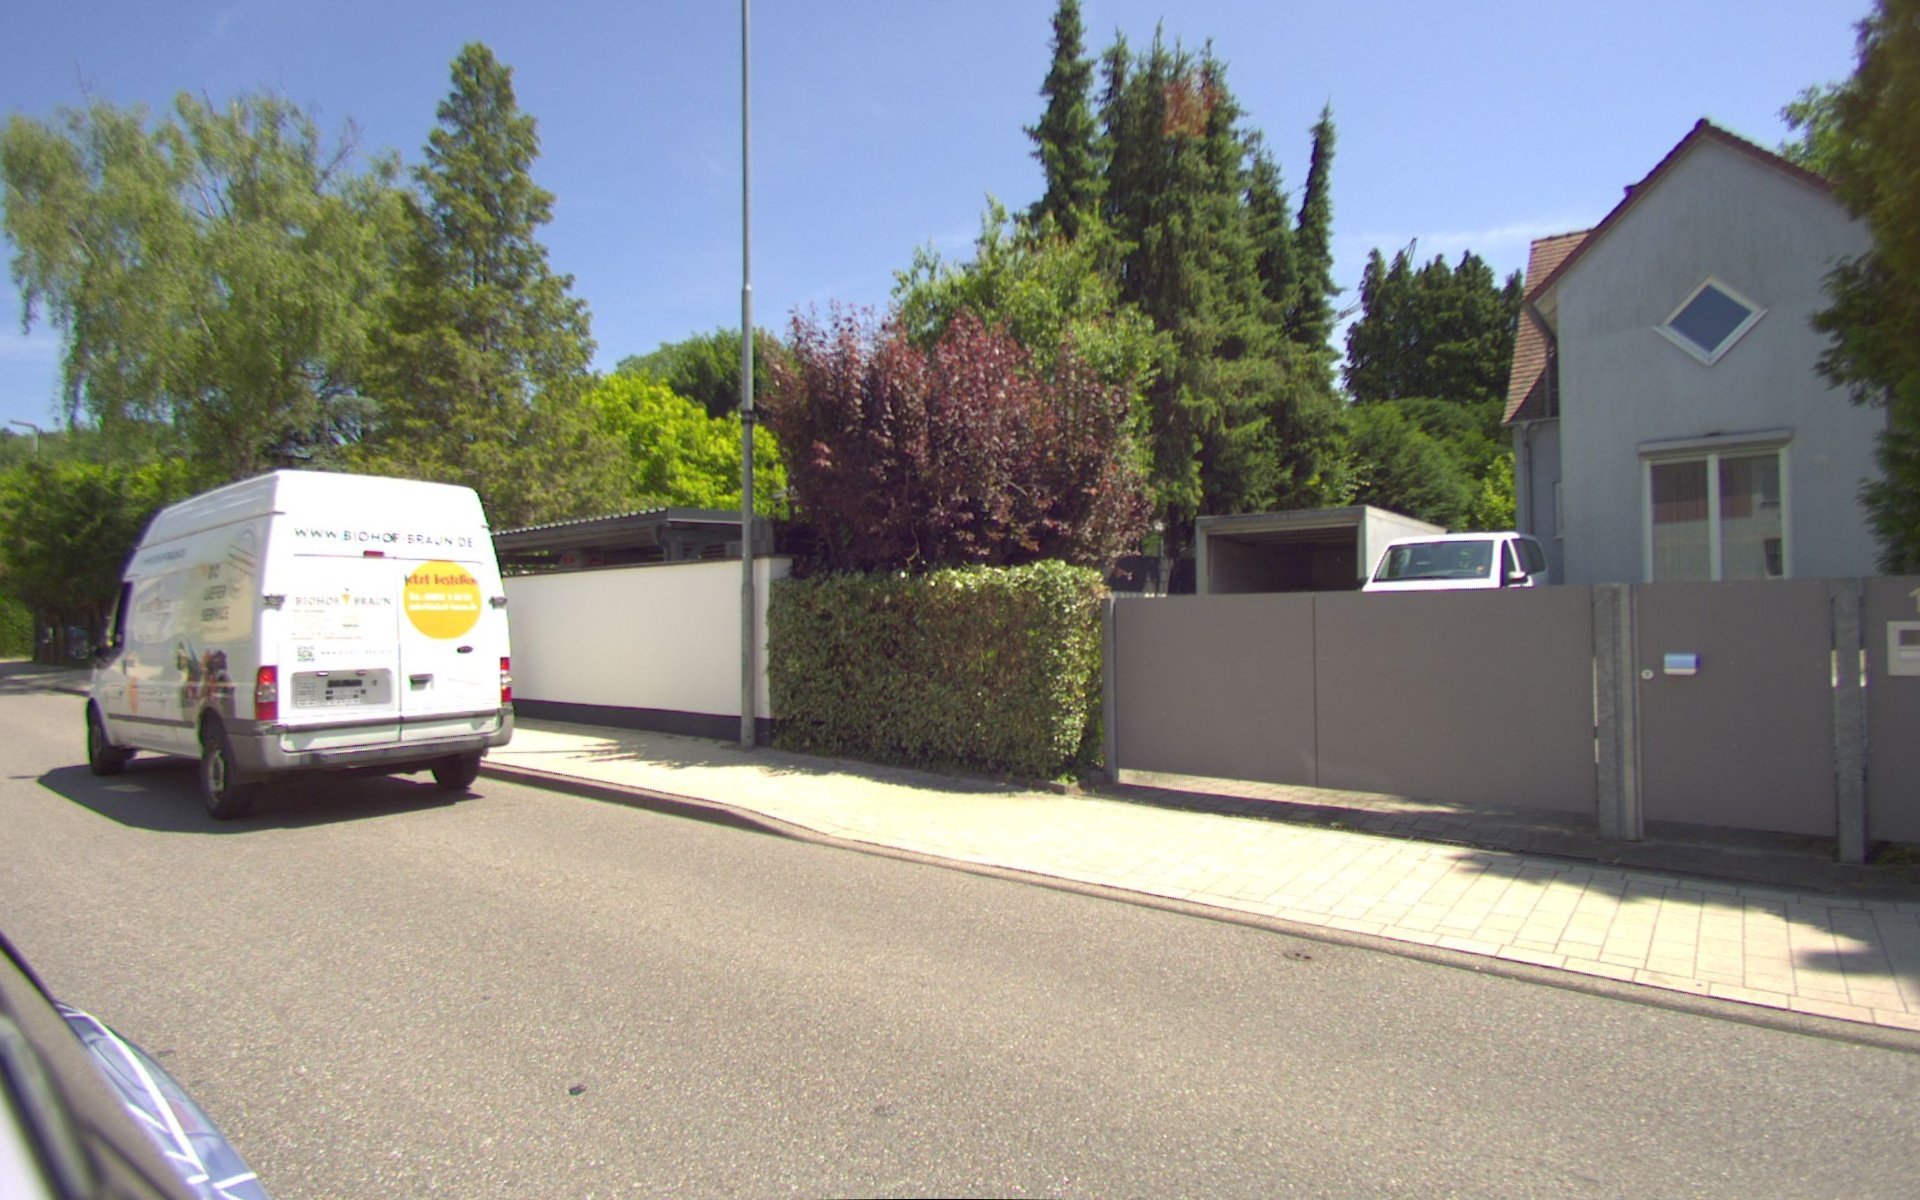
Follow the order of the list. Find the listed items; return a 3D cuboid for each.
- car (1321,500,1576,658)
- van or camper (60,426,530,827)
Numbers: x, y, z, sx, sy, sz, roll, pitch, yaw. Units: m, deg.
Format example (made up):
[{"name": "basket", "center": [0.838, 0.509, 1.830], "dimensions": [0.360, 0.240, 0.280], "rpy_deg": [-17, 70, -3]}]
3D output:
[{"name": "car", "center": [7.268, -0.285, 14.778], "dimensions": [2.160, 1.908, 4.750], "rpy_deg": [0, 1, 41]}, {"name": "van or camper", "center": [-6.490, 0.214, 9.518], "dimensions": [5.817, 2.734, 2.018], "rpy_deg": [-1, -1, 39]}]
